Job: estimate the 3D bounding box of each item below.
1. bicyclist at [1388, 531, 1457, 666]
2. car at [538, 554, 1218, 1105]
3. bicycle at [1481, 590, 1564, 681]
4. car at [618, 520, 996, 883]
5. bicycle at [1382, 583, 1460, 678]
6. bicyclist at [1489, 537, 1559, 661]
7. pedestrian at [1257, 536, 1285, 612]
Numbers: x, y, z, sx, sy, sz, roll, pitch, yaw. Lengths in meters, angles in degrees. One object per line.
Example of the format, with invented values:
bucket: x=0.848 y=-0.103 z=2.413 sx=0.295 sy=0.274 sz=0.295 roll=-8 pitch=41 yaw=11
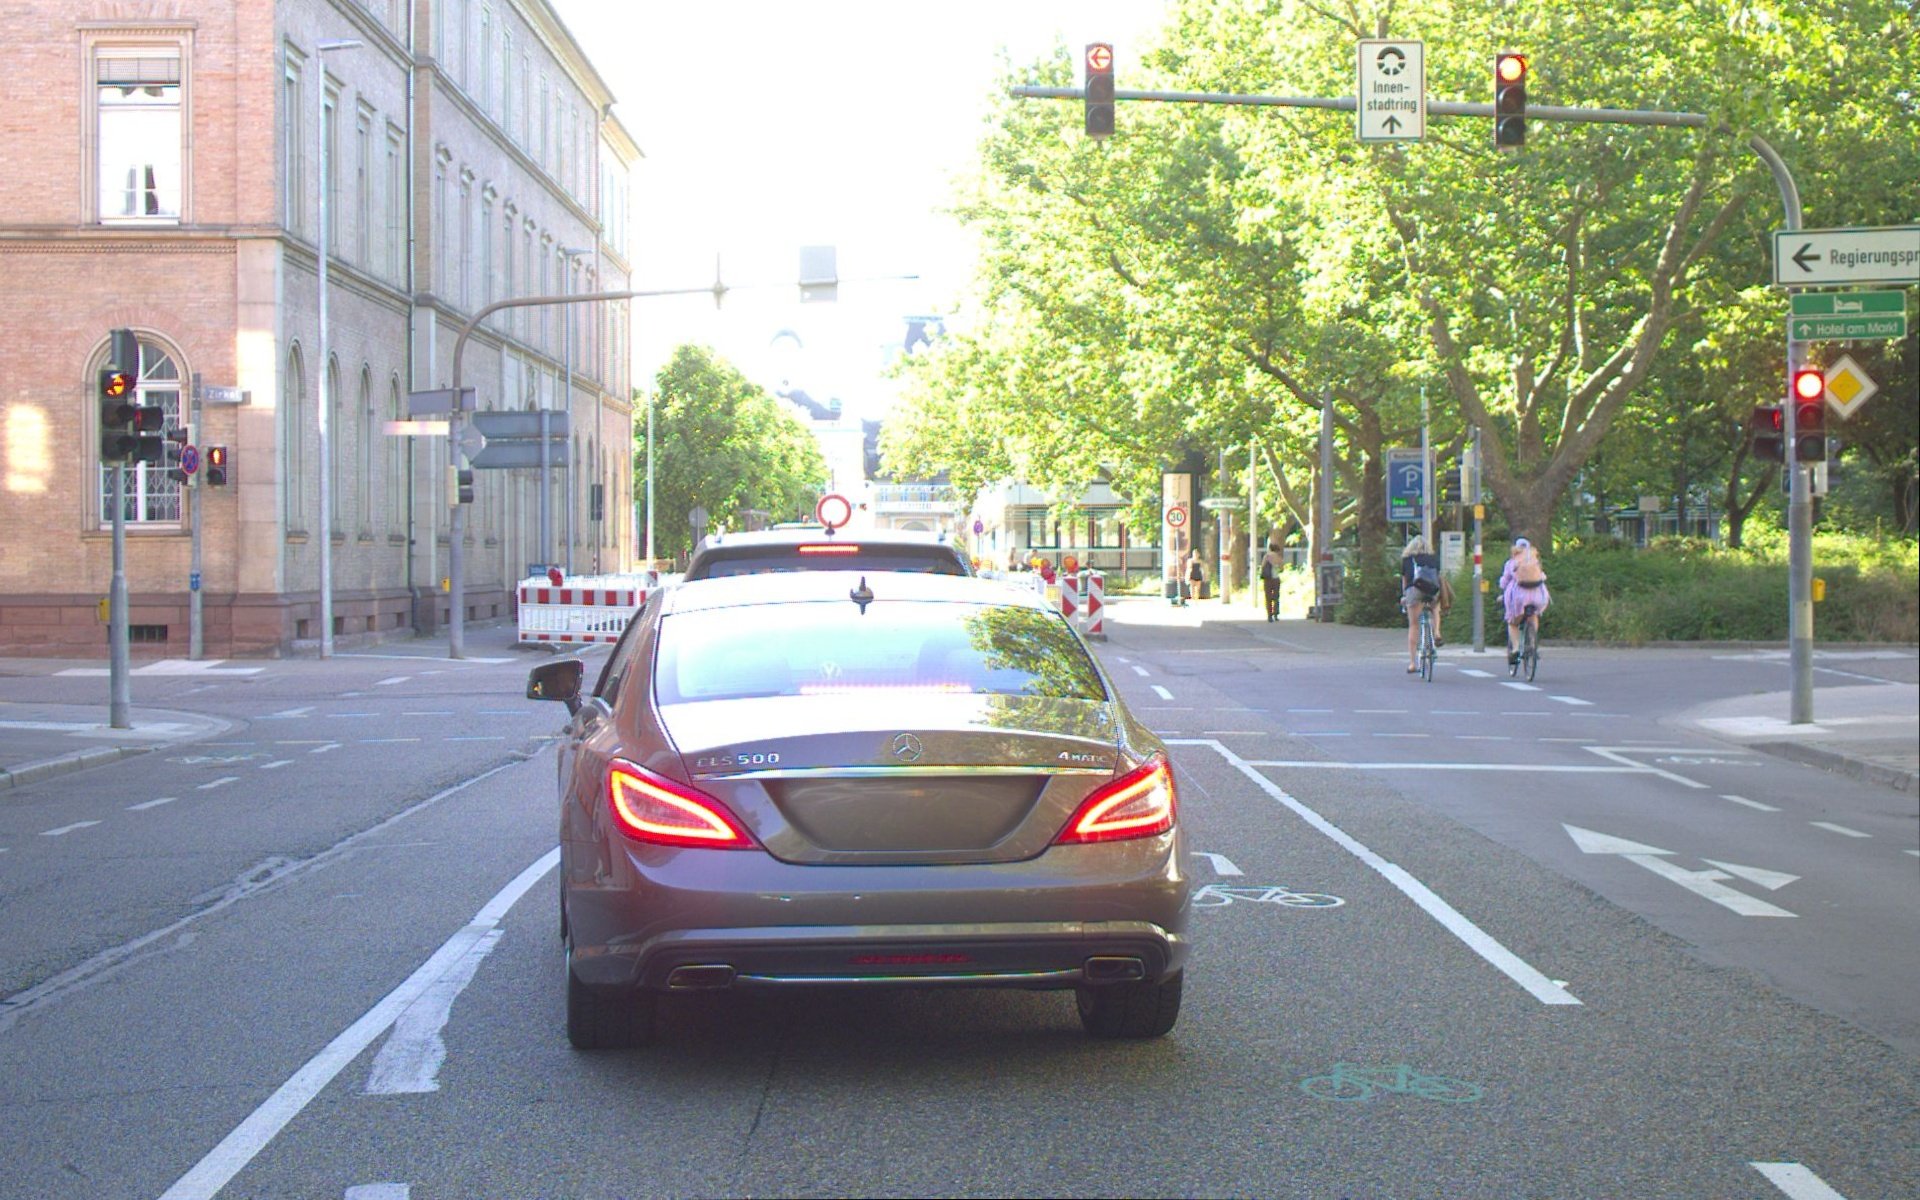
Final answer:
bicyclist: x=5.280 y=-0.020 z=39.296 sx=0.610 sy=1.511 sz=0.890 roll=2 pitch=1 yaw=-1
car: x=-0.475 y=0.583 z=11.453 sx=1.821 sy=1.471 sz=4.354 roll=0 pitch=1 yaw=-7
bicycle: x=6.472 y=0.393 z=39.618 sx=0.600 sy=0.981 sz=1.881 roll=2 pitch=1 yaw=-1
car: x=-0.742 y=0.427 z=17.247 sx=1.681 sy=1.619 sz=3.841 roll=0 pitch=1 yaw=-2
bicycle: x=5.277 y=0.338 z=39.440 sx=0.610 sy=1.023 sz=1.731 roll=2 pitch=1 yaw=-1
bicyclist: x=6.492 y=-0.023 z=39.584 sx=0.600 sy=1.397 sz=0.931 roll=2 pitch=1 yaw=-1
pedestrian: x=6.897 y=-0.574 z=76.154 sx=0.559 sy=1.672 sz=0.564 roll=0 pitch=1 yaw=-1
